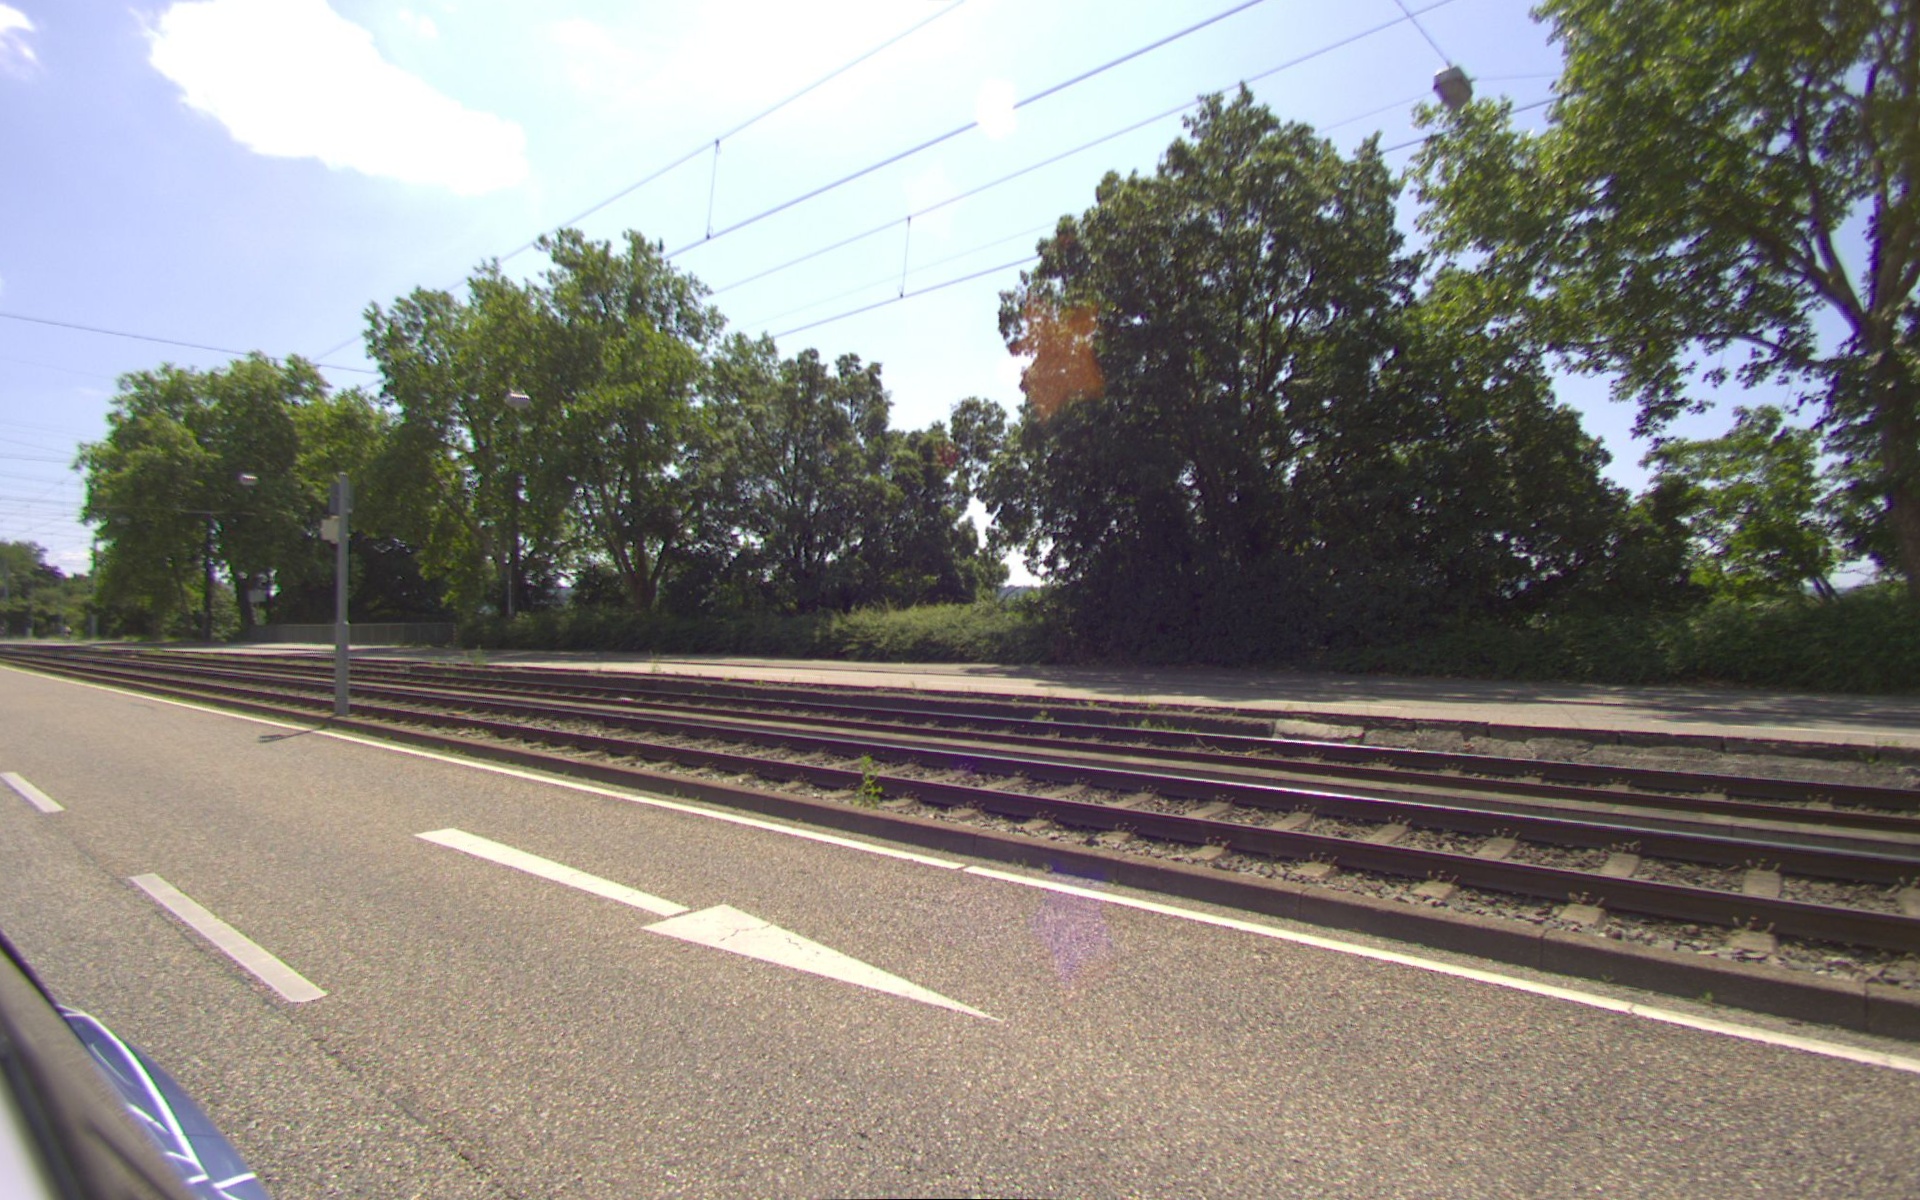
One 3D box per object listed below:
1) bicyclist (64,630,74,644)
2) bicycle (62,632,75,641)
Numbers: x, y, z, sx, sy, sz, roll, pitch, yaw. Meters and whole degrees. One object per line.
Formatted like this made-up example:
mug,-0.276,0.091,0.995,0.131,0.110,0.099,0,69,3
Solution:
bicyclist,-98.485,4.100,111.806,0.917,1.495,0.704,-1,-1,39
bicycle,-98.568,4.035,111.867,2.181,0.924,0.704,-1,-1,39
